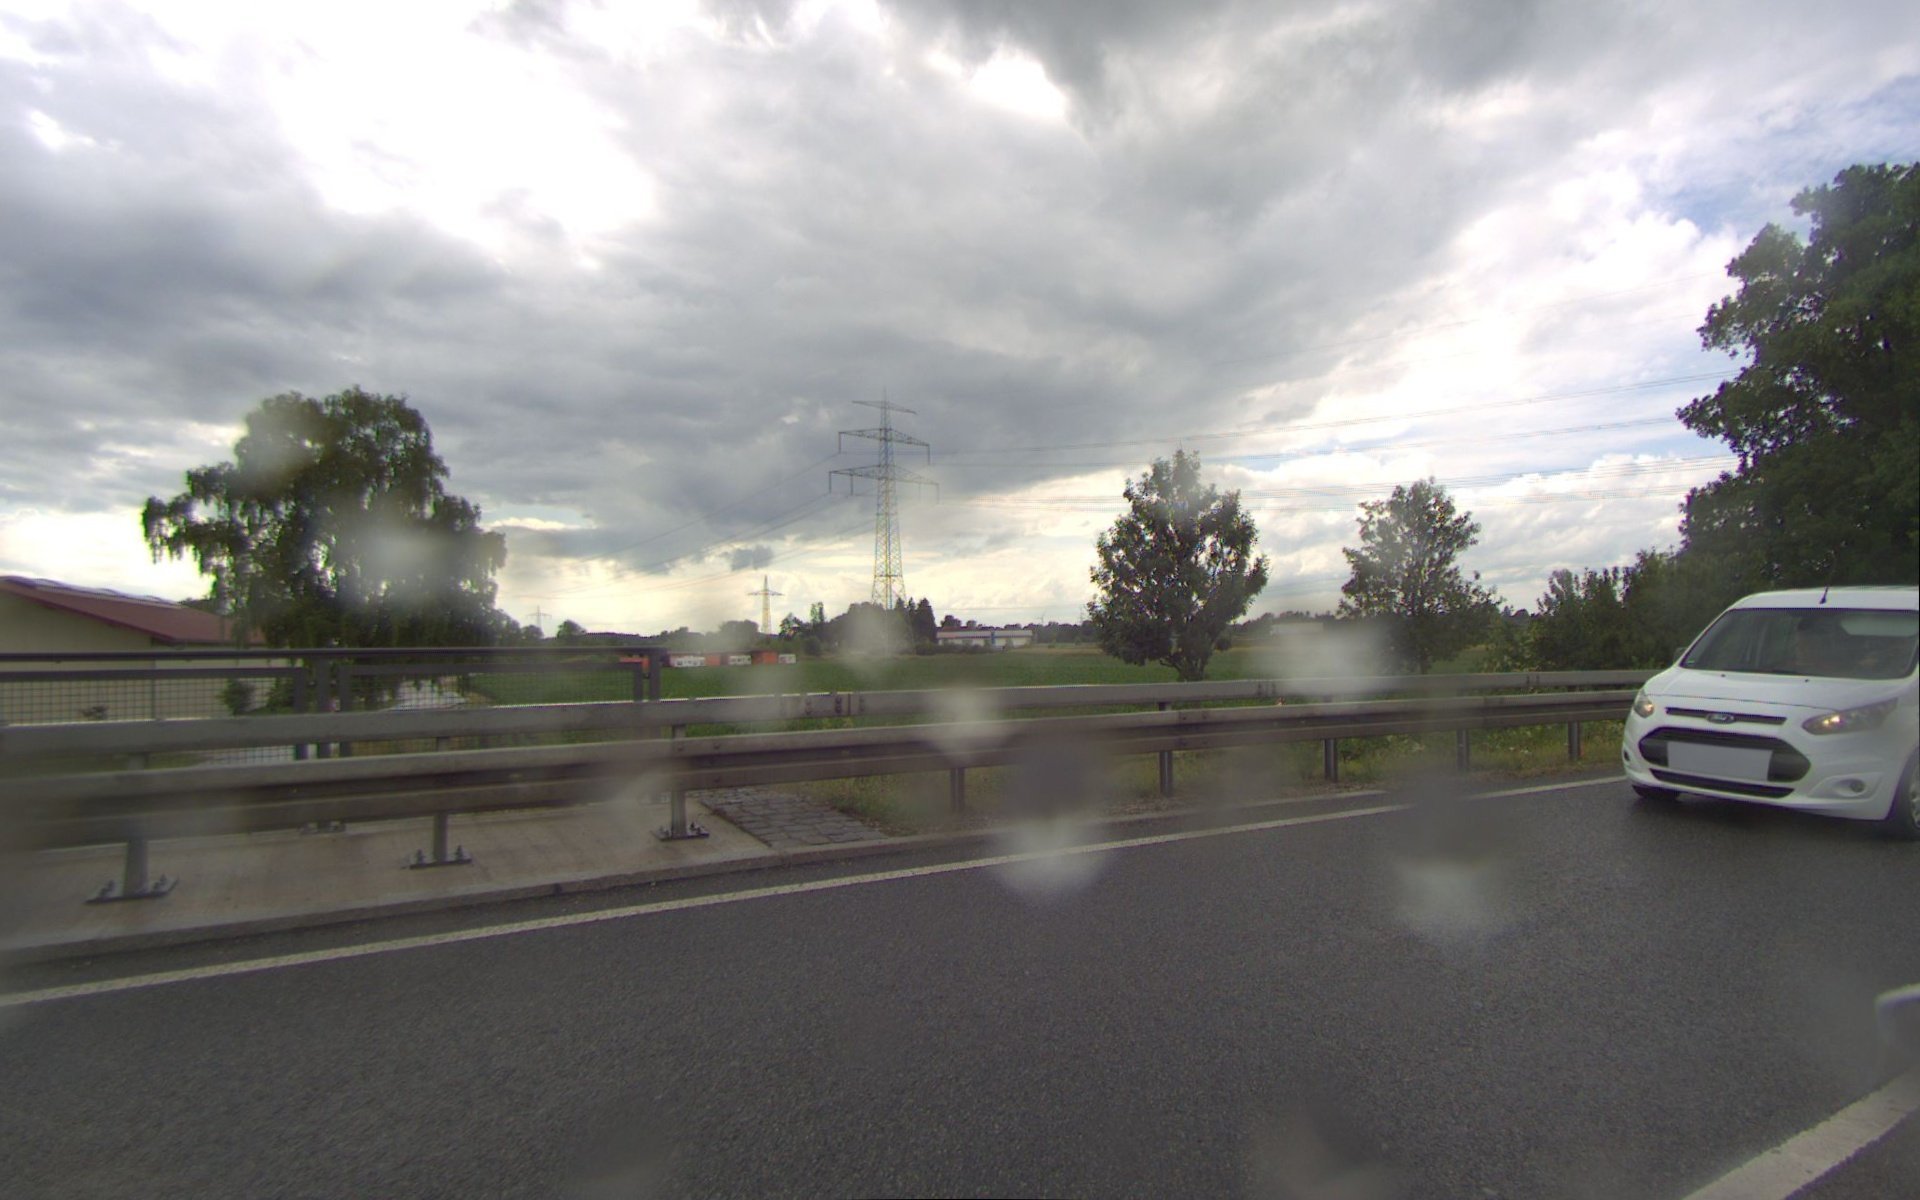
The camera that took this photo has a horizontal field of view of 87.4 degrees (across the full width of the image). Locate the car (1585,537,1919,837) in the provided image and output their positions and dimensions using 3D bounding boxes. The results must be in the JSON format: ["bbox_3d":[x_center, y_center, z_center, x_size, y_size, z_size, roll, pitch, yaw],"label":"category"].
[{"bbox_3d":[7.397,0.586,8.314,4.434,1.917,1.854,1,-1,-29],"label":"car"}]
